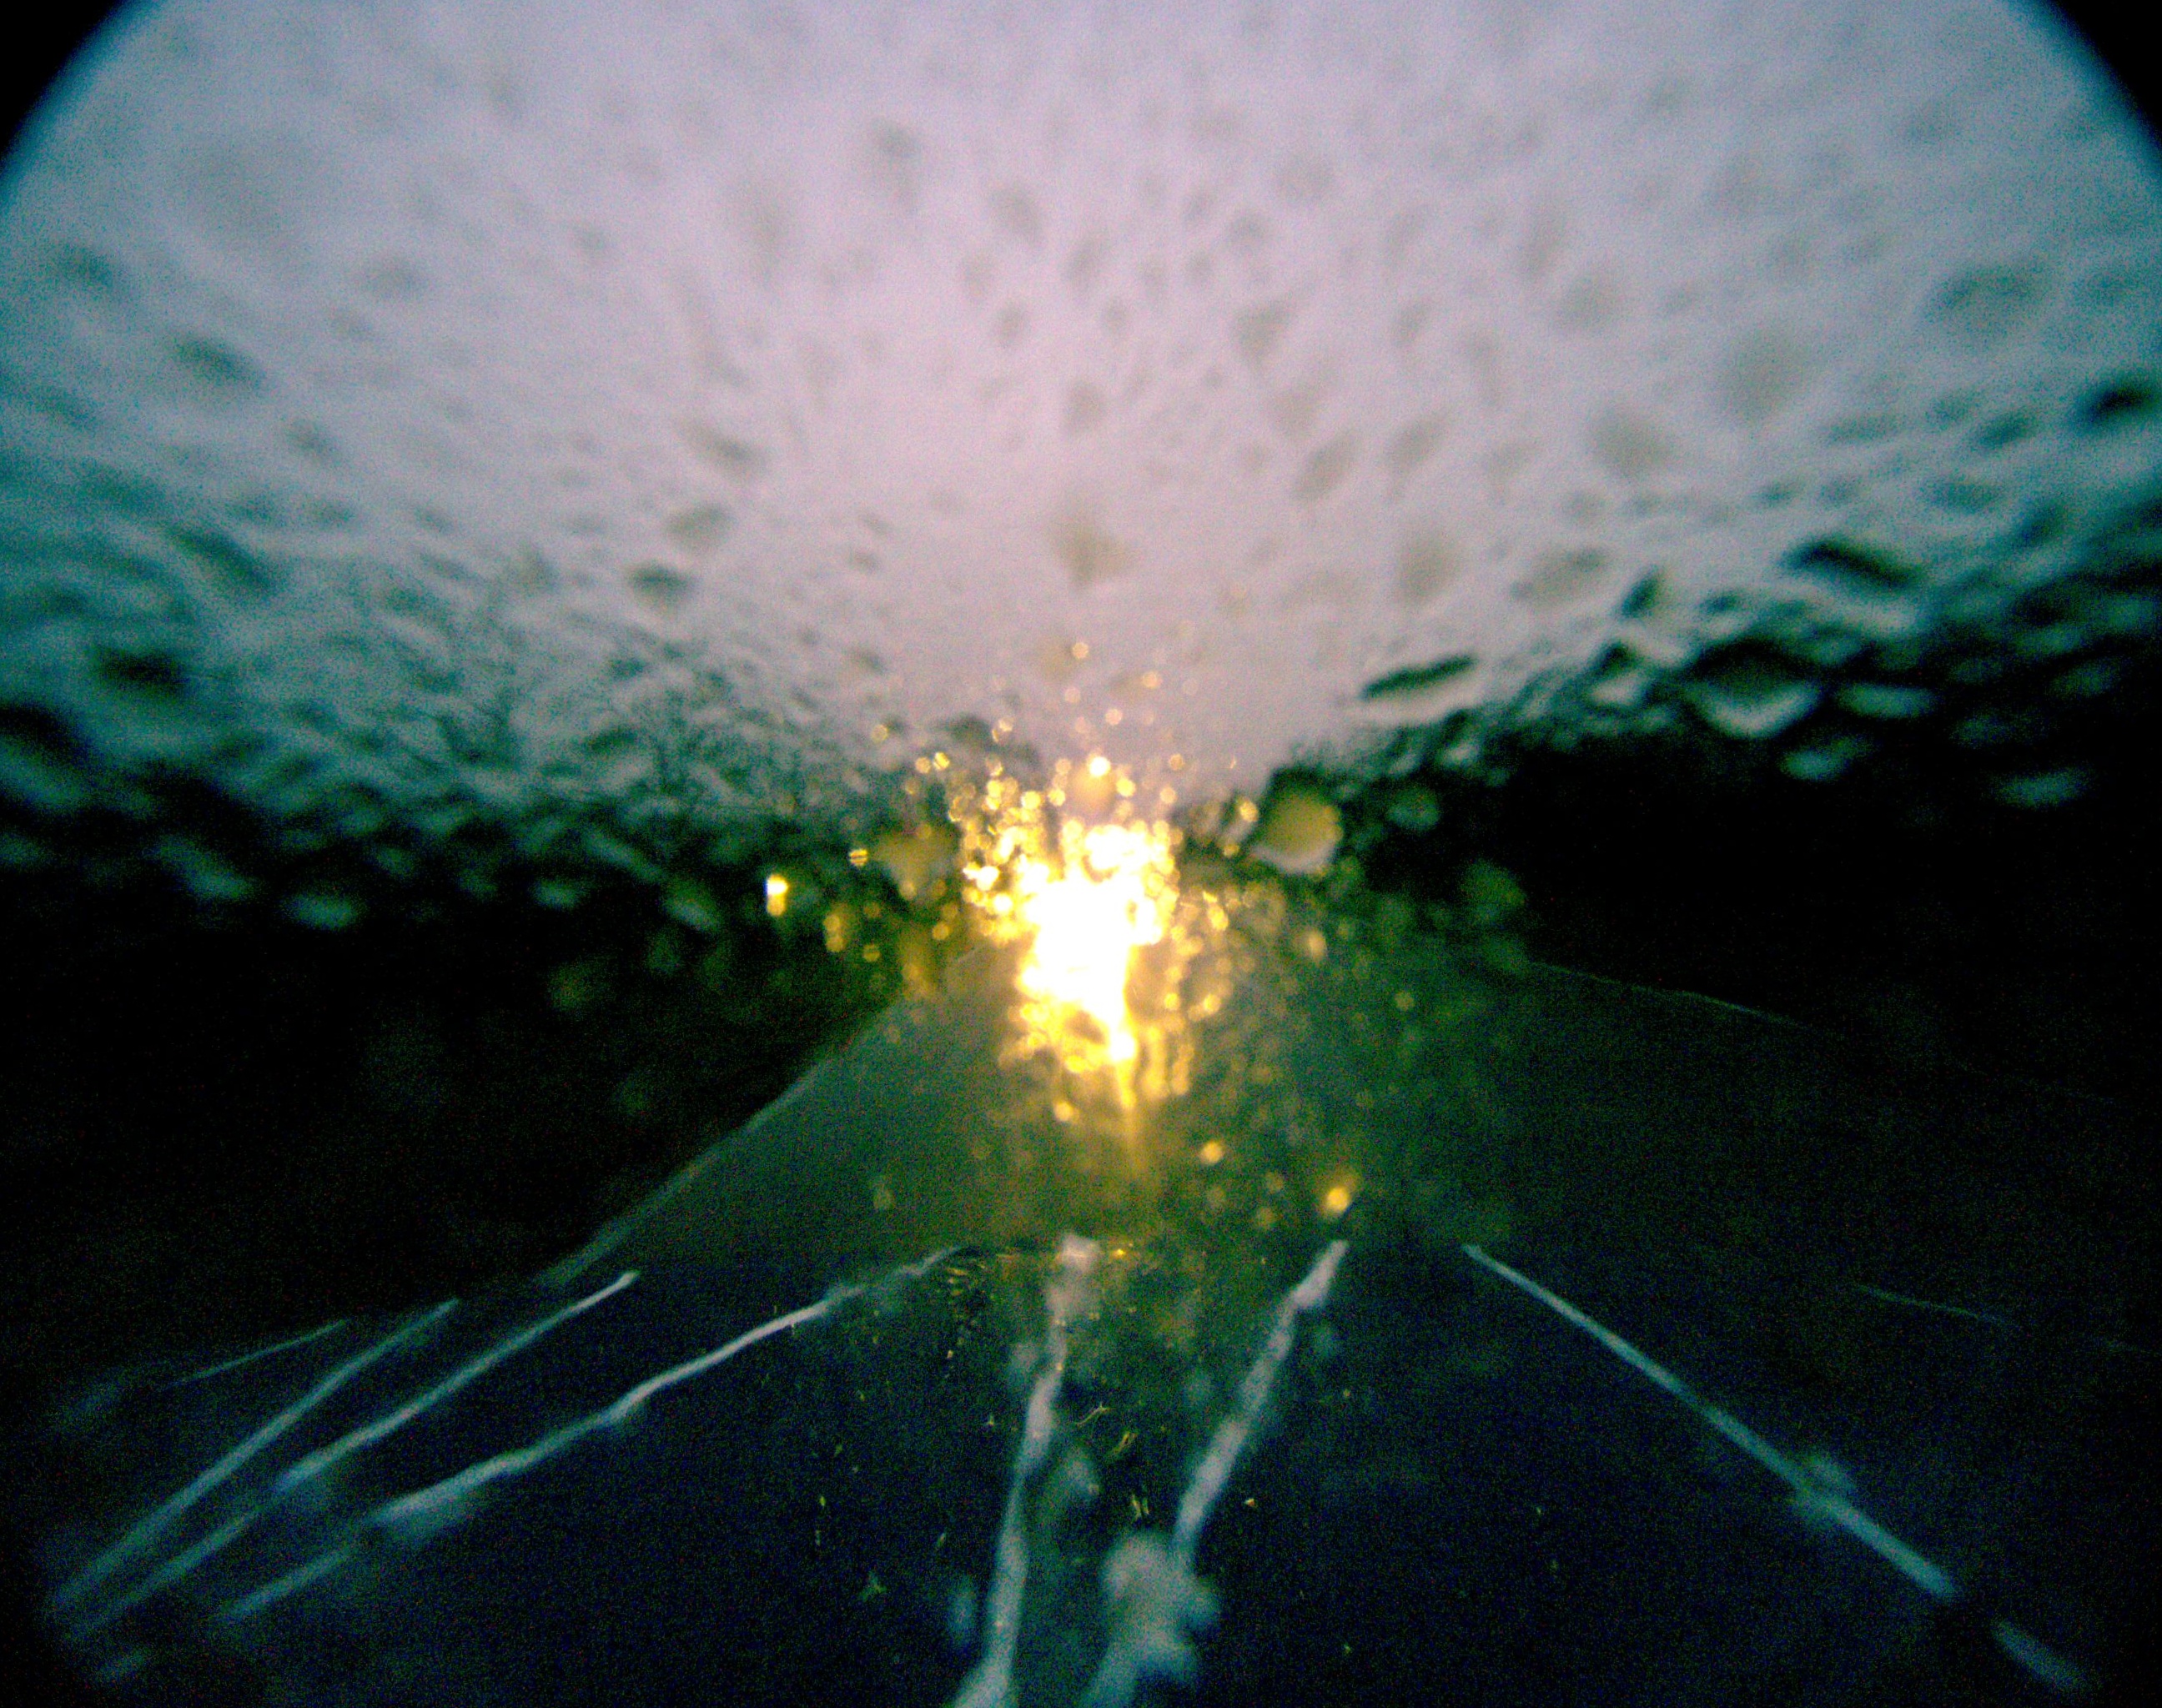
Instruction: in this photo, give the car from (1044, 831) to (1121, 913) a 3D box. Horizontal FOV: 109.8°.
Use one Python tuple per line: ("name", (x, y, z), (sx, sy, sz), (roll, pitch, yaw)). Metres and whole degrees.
("car", (0.146, 0.494, 23.221), (1.952, 2.195, 4.536), (-2, 0, 4))
